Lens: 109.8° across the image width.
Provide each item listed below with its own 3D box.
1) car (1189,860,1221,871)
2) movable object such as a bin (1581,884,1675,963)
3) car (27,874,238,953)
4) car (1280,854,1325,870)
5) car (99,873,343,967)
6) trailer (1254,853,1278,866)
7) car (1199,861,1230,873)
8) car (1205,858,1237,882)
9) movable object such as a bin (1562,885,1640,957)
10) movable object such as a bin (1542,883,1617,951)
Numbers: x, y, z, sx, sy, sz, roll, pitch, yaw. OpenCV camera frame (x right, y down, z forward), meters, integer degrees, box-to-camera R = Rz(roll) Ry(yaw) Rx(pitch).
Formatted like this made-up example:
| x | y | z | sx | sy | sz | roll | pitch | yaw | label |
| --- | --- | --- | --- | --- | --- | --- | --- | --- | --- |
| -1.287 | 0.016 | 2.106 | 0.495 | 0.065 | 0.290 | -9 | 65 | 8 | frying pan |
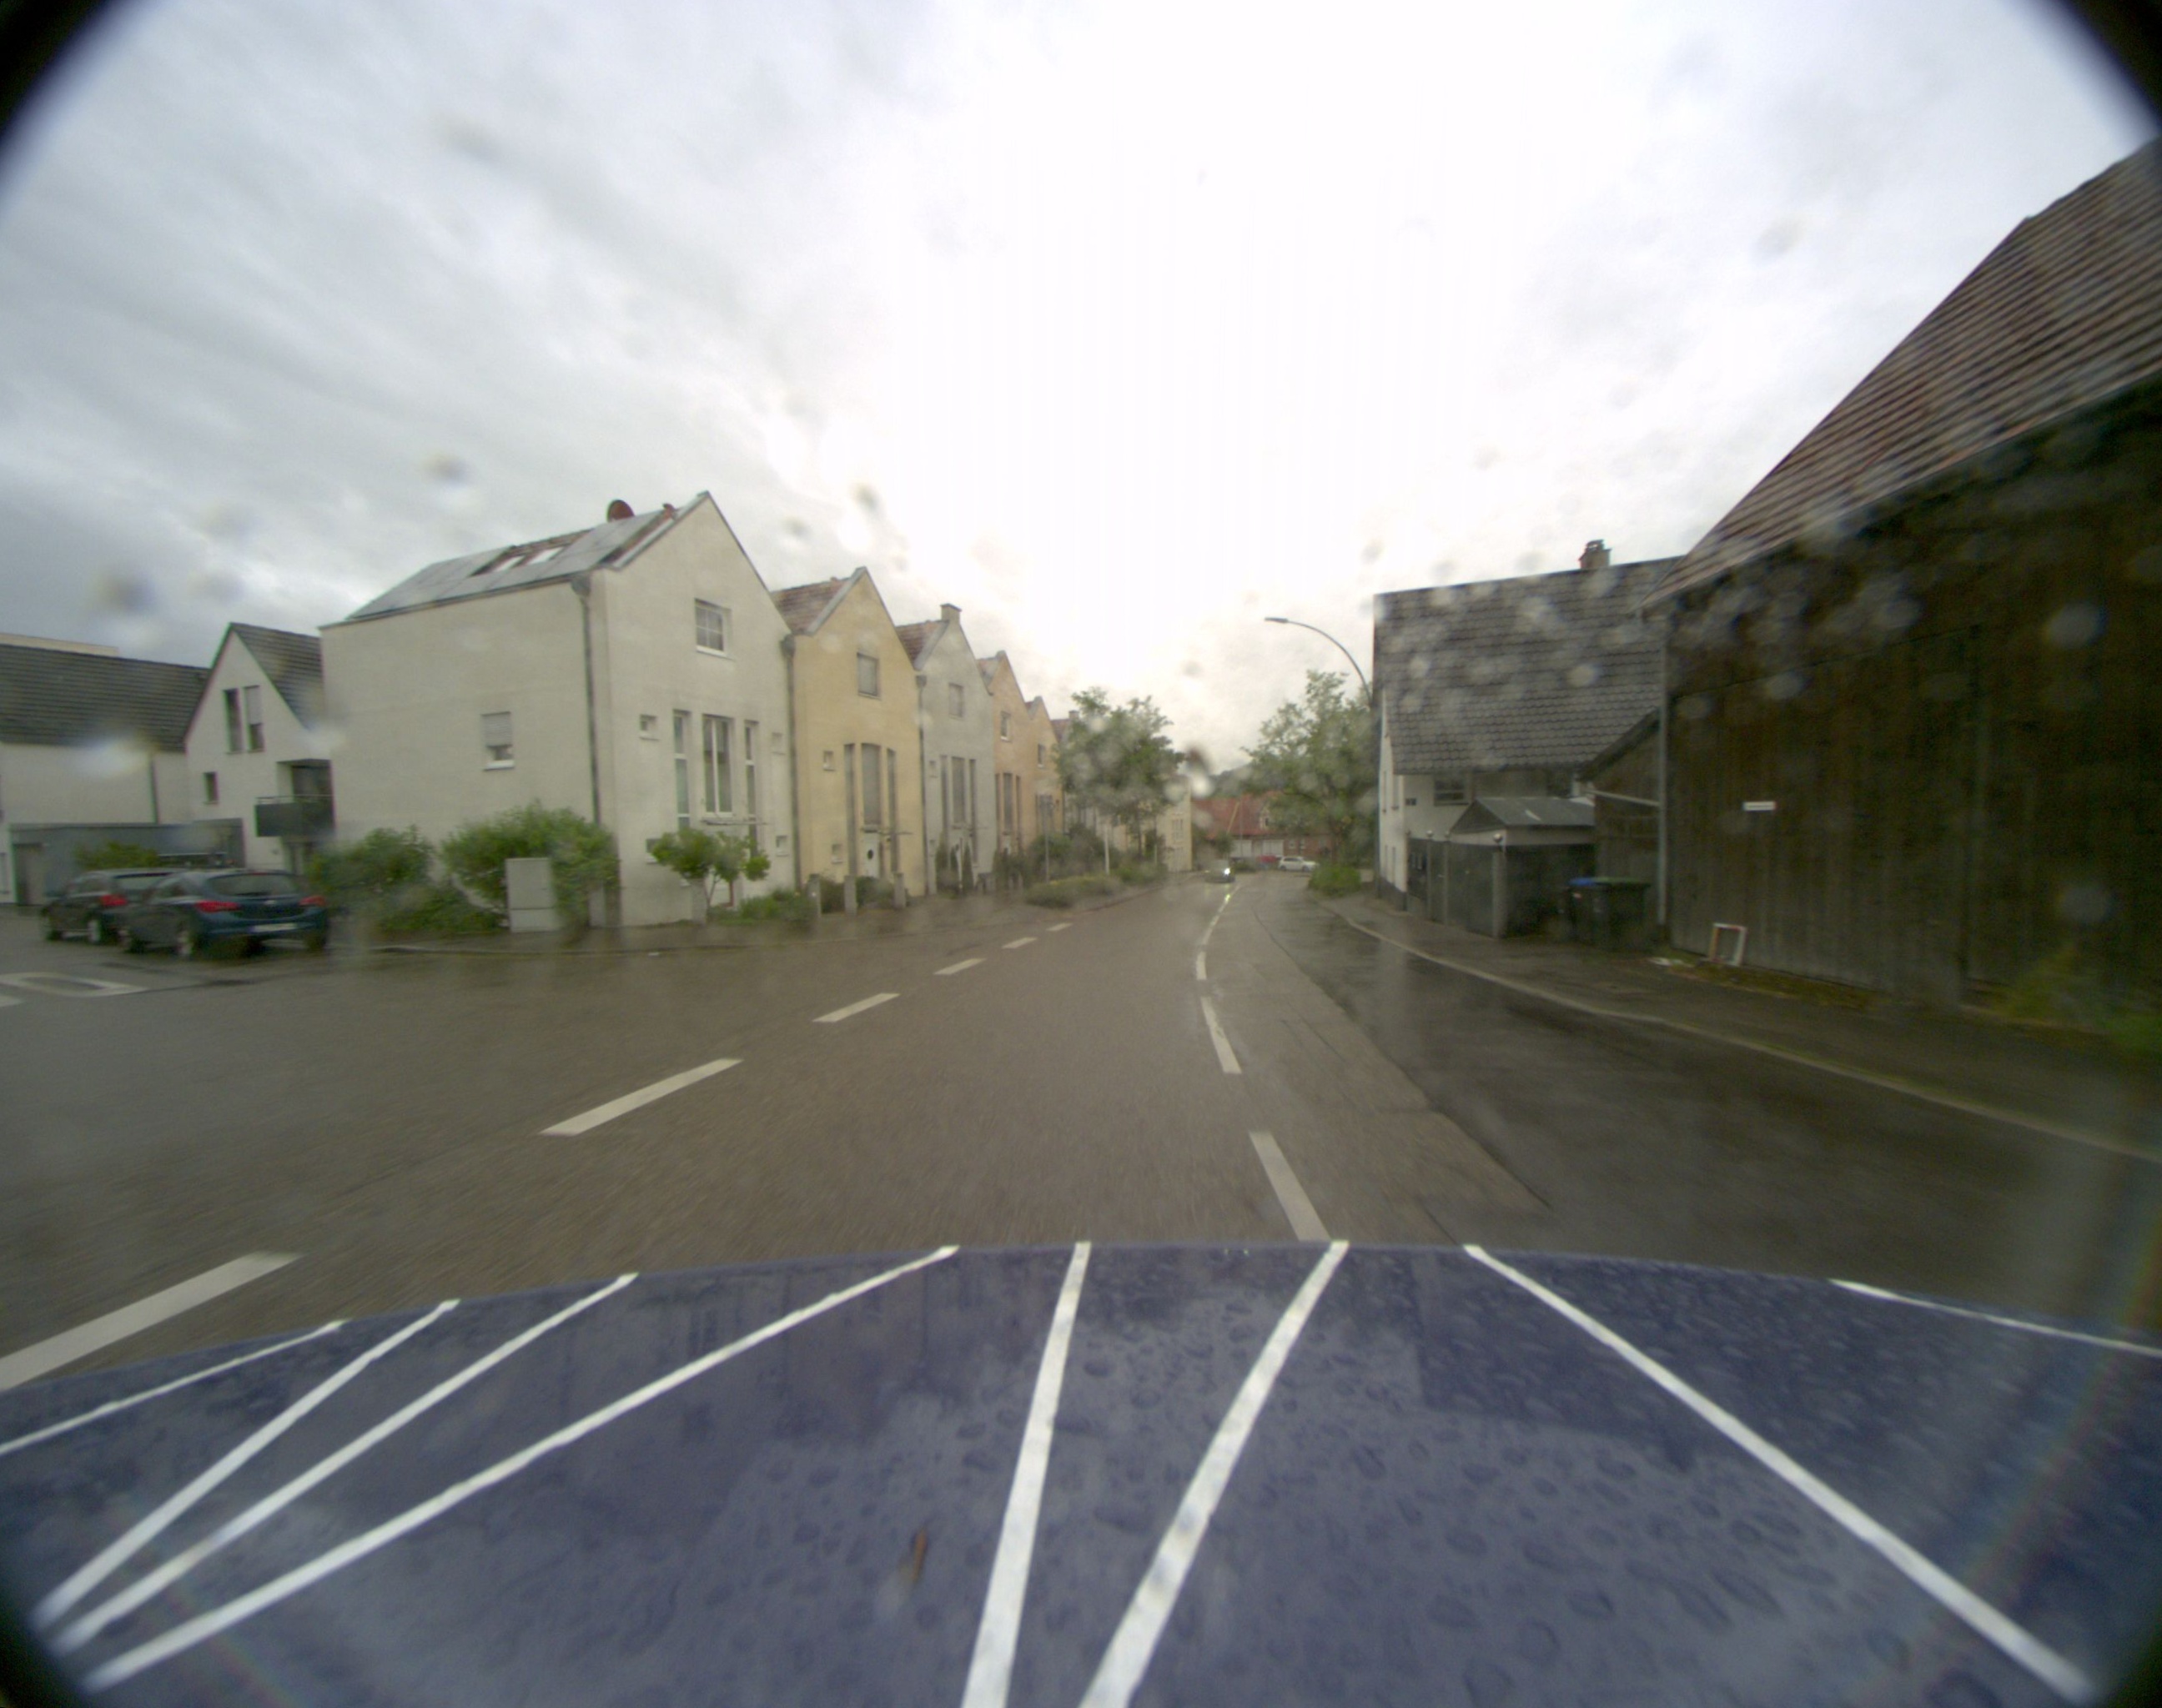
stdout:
| x | y | z | sx | sy | sz | roll | pitch | yaw | label |
| --- | --- | --- | --- | --- | --- | --- | --- | --- | --- |
| 16.269 | 1.455 | 99.685 | 4.008 | 1.368 | 1.875 | -1 | 0 | -39 | car |
| 7.990 | 1.010 | 11.122 | 0.899 | 1.071 | 0.652 | -2 | 1 | 9 | movable object such as a bin |
| -19.595 | 1.161 | 15.707 | 3.705 | 1.392 | 1.795 | -1 | 1 | 24 | car |
| 22.248 | 0.803 | 76.569 | 1.760 | 1.527 | 4.139 | -2 | 1 | -35 | car |
| -15.300 | 1.093 | 13.530 | 3.726 | 1.398 | 1.806 | -1 | 1 | 24 | car |
| 24.322 | 0.700 | 100.139 | 2.717 | 1.639 | 1.415 | 0 | 1 | 41 | trailer |
| 17.194 | 1.609 | 97.809 | 4.007 | 1.382 | 1.619 | -2 | 1 | -41 | car |
| 10.027 | 1.130 | 54.191 | 1.996 | 1.521 | 4.004 | -1 | 1 | 14 | car |
| 8.079 | 1.037 | 11.826 | 0.819 | 1.055 | 0.597 | -1 | 1 | 9 | movable object such as a bin |
| 8.136 | 1.023 | 12.433 | 0.837 | 1.052 | 0.612 | -1 | 1 | 9 | movable object such as a bin |
